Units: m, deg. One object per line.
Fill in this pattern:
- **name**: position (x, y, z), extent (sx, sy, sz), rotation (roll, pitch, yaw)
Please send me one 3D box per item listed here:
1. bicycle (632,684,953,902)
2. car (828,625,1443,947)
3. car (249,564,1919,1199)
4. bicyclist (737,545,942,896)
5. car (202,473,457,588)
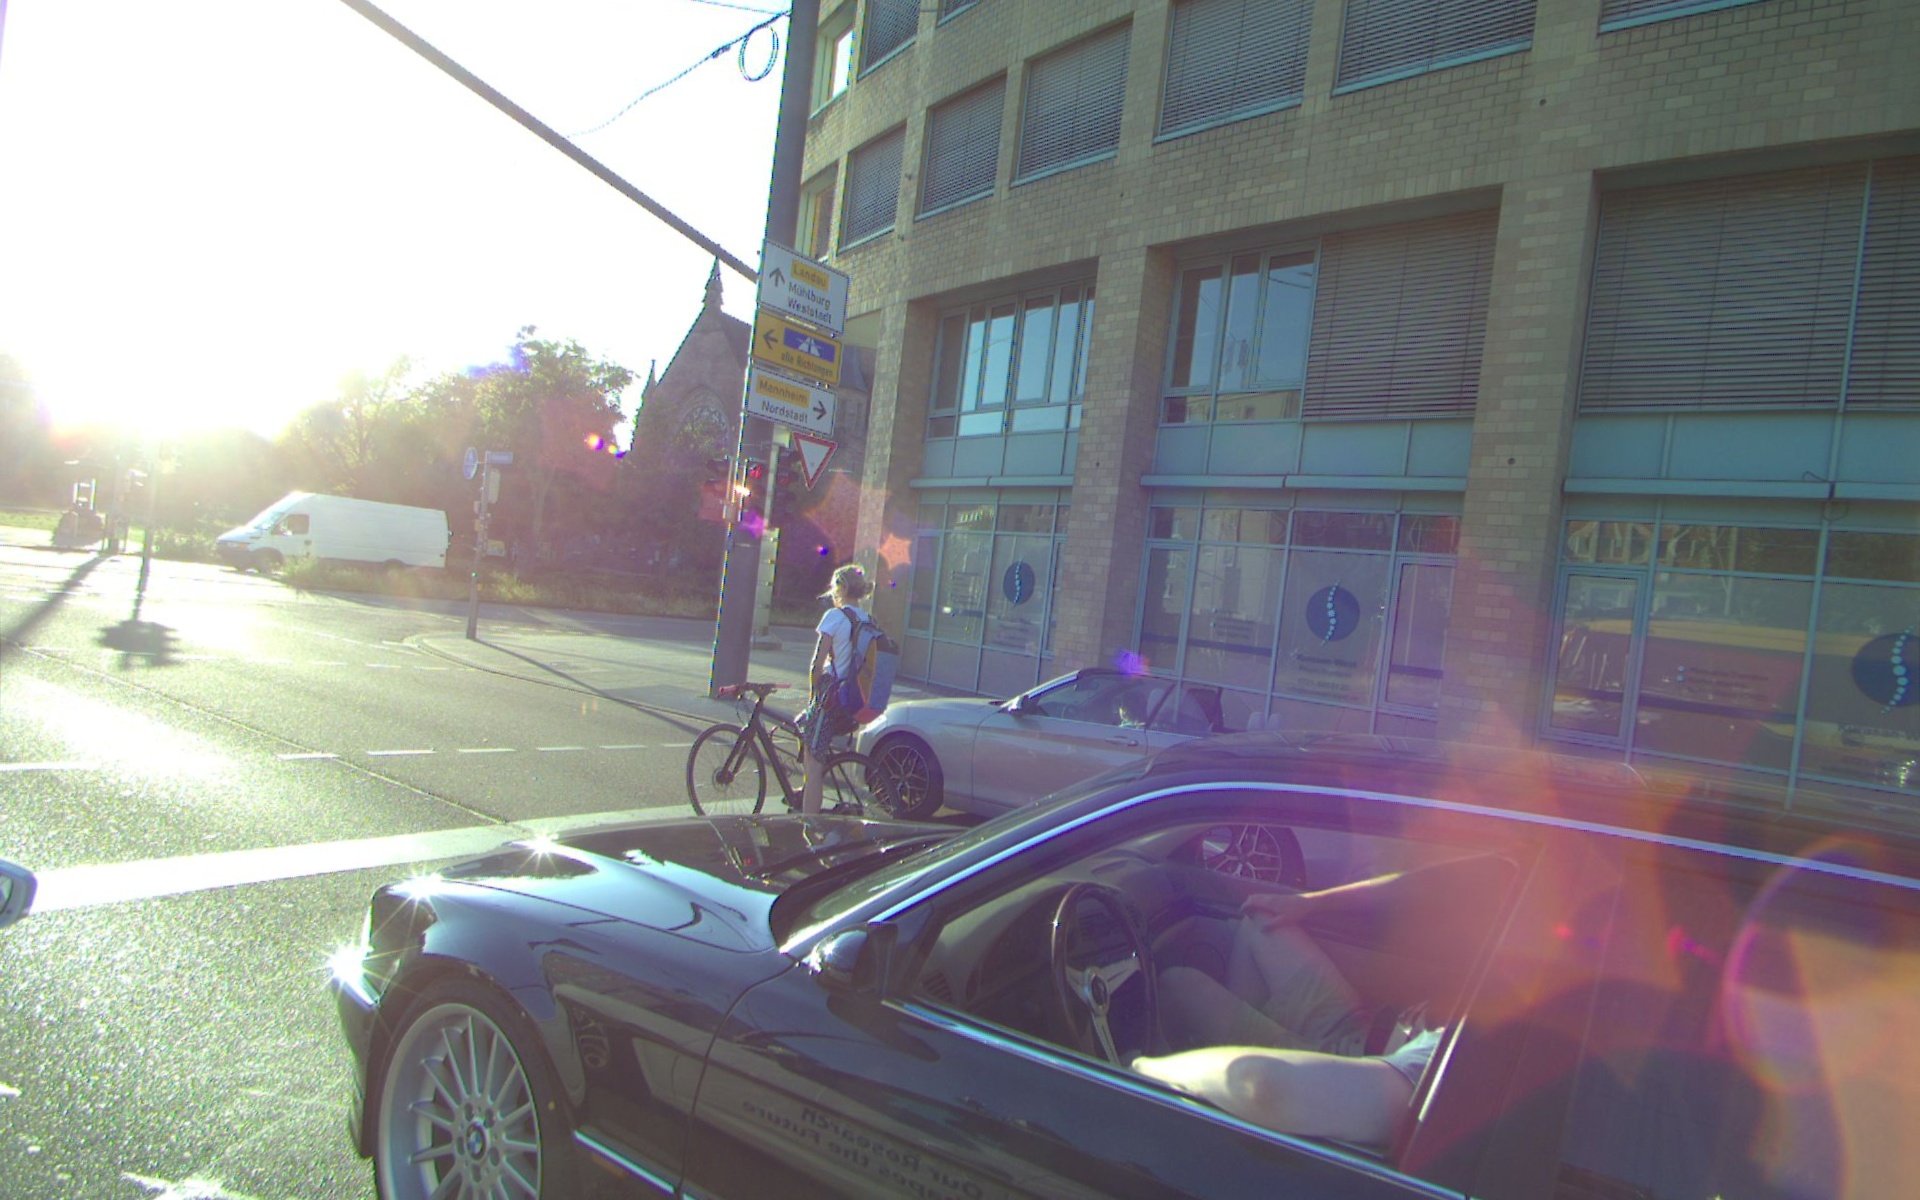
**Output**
- **bicycle**: position (-1.032, 1.076, 6.022), extent (1.838, 0.884, 0.634), rotation (7, 0, 30)
- **car**: position (1.228, 1.188, 7.682), extent (4.158, 1.401, 1.746), rotation (7, -1, 32)
- **car**: position (0.873, 0.936, 2.007), extent (4.661, 1.402, 1.997), rotation (7, -1, 32)
- **bicyclist**: position (-0.694, 0.660, 5.861), extent (0.764, 1.843, 0.634), rotation (7, 1, 30)
- **car**: position (-21.281, -2.250, 34.430), extent (2.059, 2.862, 7.017), rotation (7, 0, 33)
